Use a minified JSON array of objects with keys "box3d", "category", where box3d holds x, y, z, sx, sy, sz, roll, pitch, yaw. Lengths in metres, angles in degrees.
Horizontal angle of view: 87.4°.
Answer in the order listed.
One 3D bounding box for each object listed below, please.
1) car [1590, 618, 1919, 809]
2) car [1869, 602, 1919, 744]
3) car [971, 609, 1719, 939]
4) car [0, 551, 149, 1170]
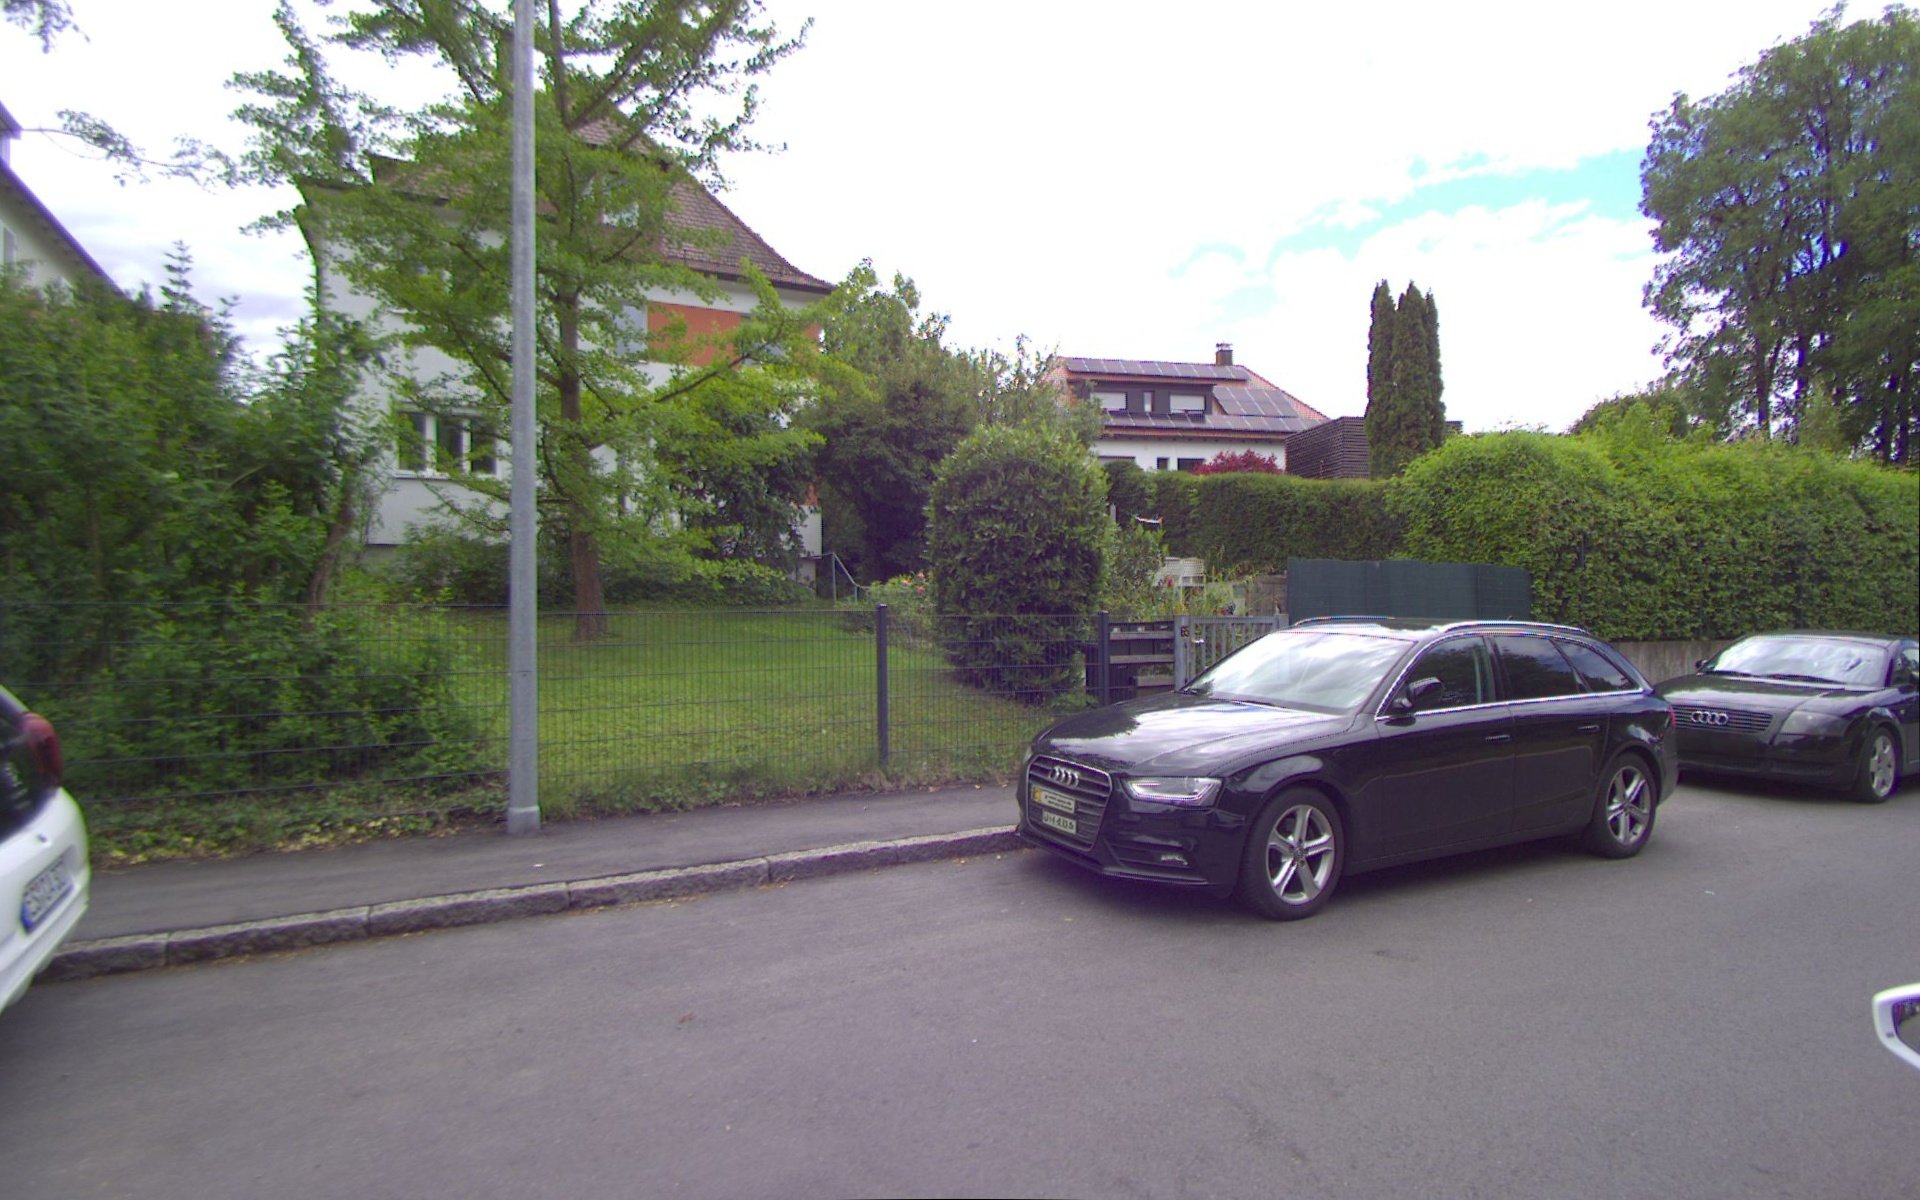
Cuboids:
[{"box3d":[7.749,0.875,9.114,4.058,1.359,1.704,1,0,-29],"category":"car"},{"box3d":[12.710,0.840,11.635,4.413,1.554,1.651,1,0,-25],"category":"car"},{"box3d":[2.488,0.789,6.167,4.605,1.403,1.711,1,0,-28],"category":"car"},{"box3d":[-4.257,0.618,2.267,3.549,1.534,1.580,1,0,-31],"category":"car"}]
